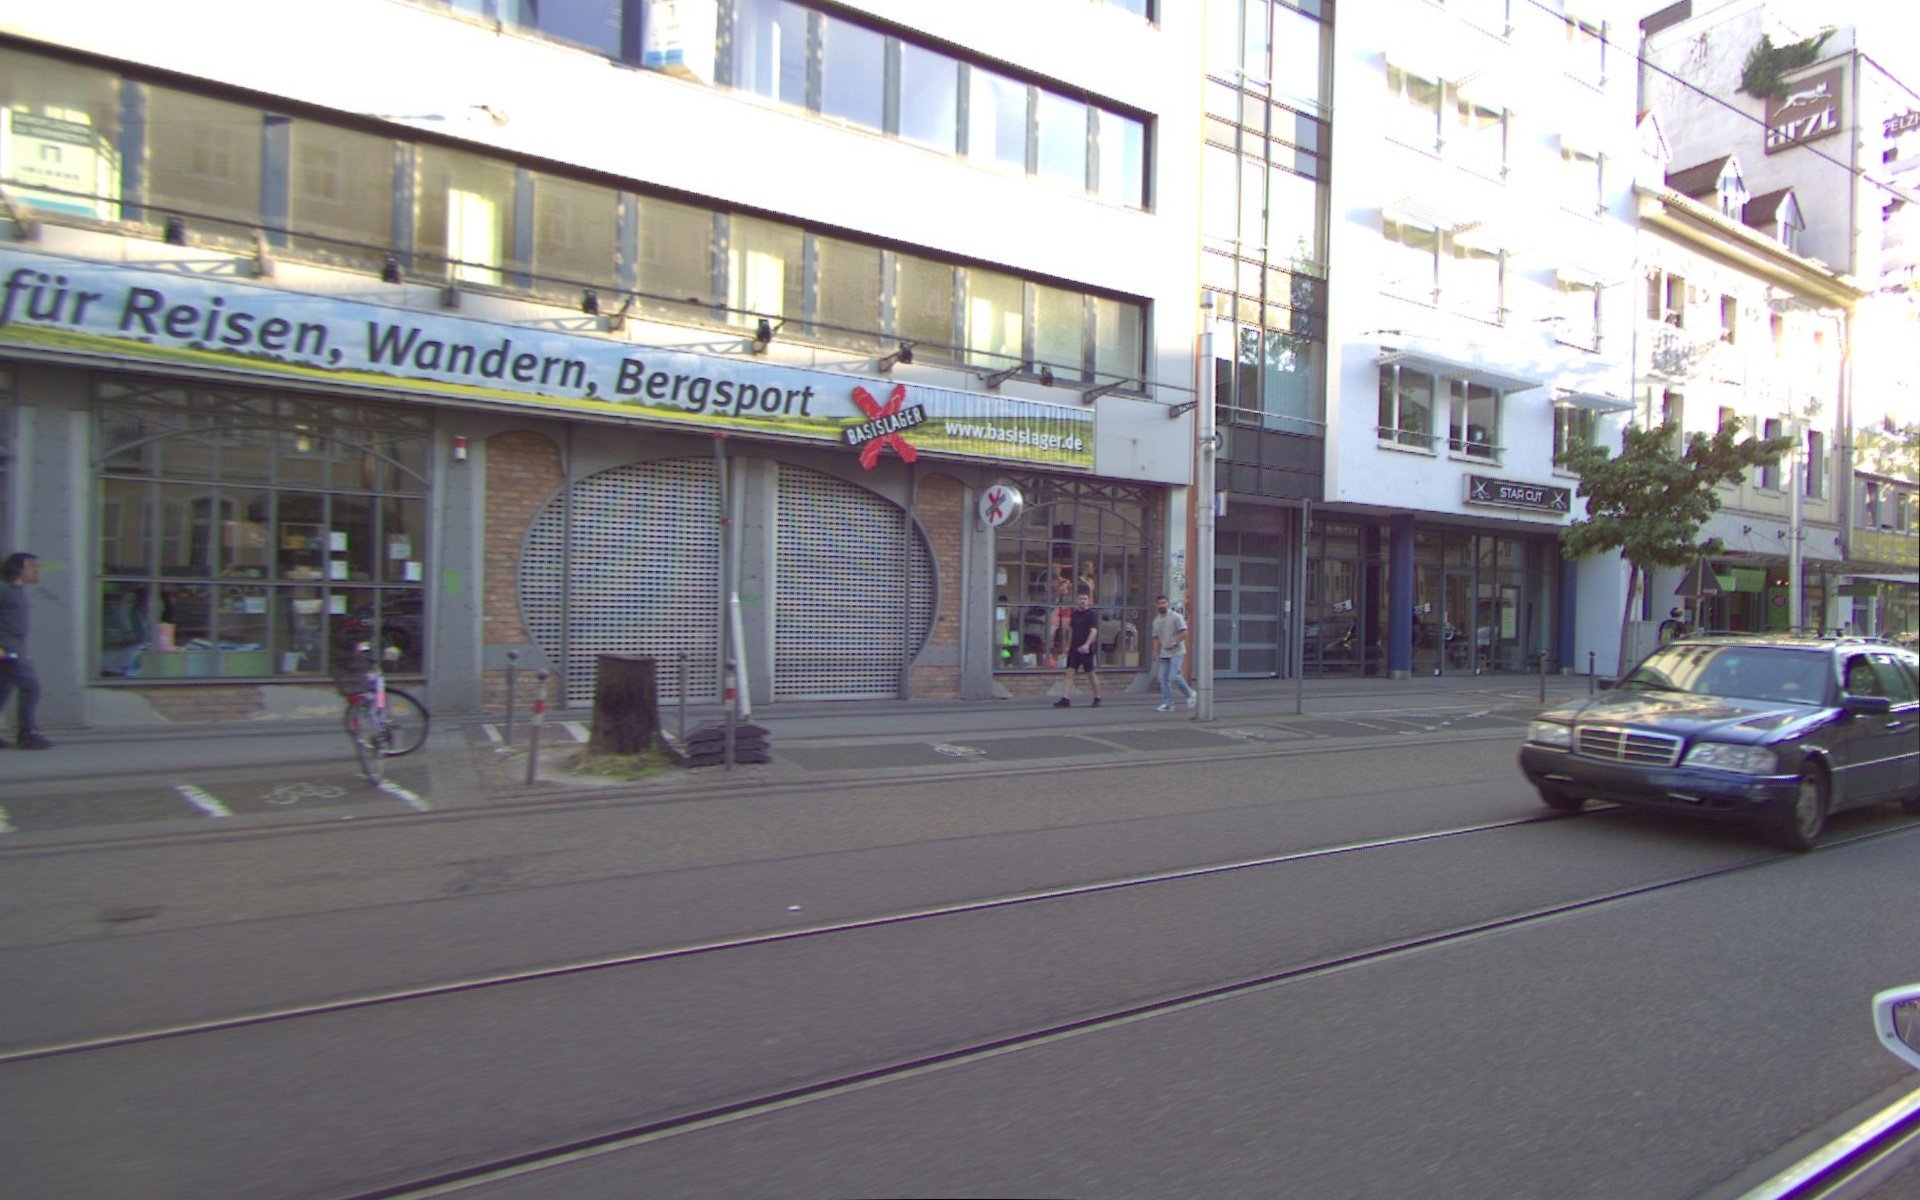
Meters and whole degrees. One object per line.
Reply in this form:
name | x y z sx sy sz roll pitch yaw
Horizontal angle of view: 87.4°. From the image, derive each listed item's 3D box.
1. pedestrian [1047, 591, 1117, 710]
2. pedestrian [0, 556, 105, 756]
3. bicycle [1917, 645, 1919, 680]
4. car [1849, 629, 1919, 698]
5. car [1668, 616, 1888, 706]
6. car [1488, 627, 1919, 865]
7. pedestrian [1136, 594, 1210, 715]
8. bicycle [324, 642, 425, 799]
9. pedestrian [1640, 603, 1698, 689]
pedestrian | 1.832 0.748 15.152 0.797 1.736 0.625 1 1 -26
pedestrian | -8.490 0.479 9.062 1.025 1.718 0.828 1 2 -30
bicycle | 28.273 1.811 28.245 0.414 1.014 1.965 1 0 -25
car | 23.480 1.529 24.540 4.202 1.510 1.779 2 1 -37
car | 16.583 1.222 20.405 3.647 1.638 1.630 1 1 -16
car | 6.427 0.972 8.158 4.477 1.426 1.769 2 -1 -32
pedestrian | 3.175 0.798 15.021 0.818 1.736 0.639 1 1 -26
bicycle | -4.804 0.929 8.322 0.471 1.005 1.741 1 3 -22
pedestrian | 15.860 1.028 22.465 0.868 1.850 0.656 1 2 -30
